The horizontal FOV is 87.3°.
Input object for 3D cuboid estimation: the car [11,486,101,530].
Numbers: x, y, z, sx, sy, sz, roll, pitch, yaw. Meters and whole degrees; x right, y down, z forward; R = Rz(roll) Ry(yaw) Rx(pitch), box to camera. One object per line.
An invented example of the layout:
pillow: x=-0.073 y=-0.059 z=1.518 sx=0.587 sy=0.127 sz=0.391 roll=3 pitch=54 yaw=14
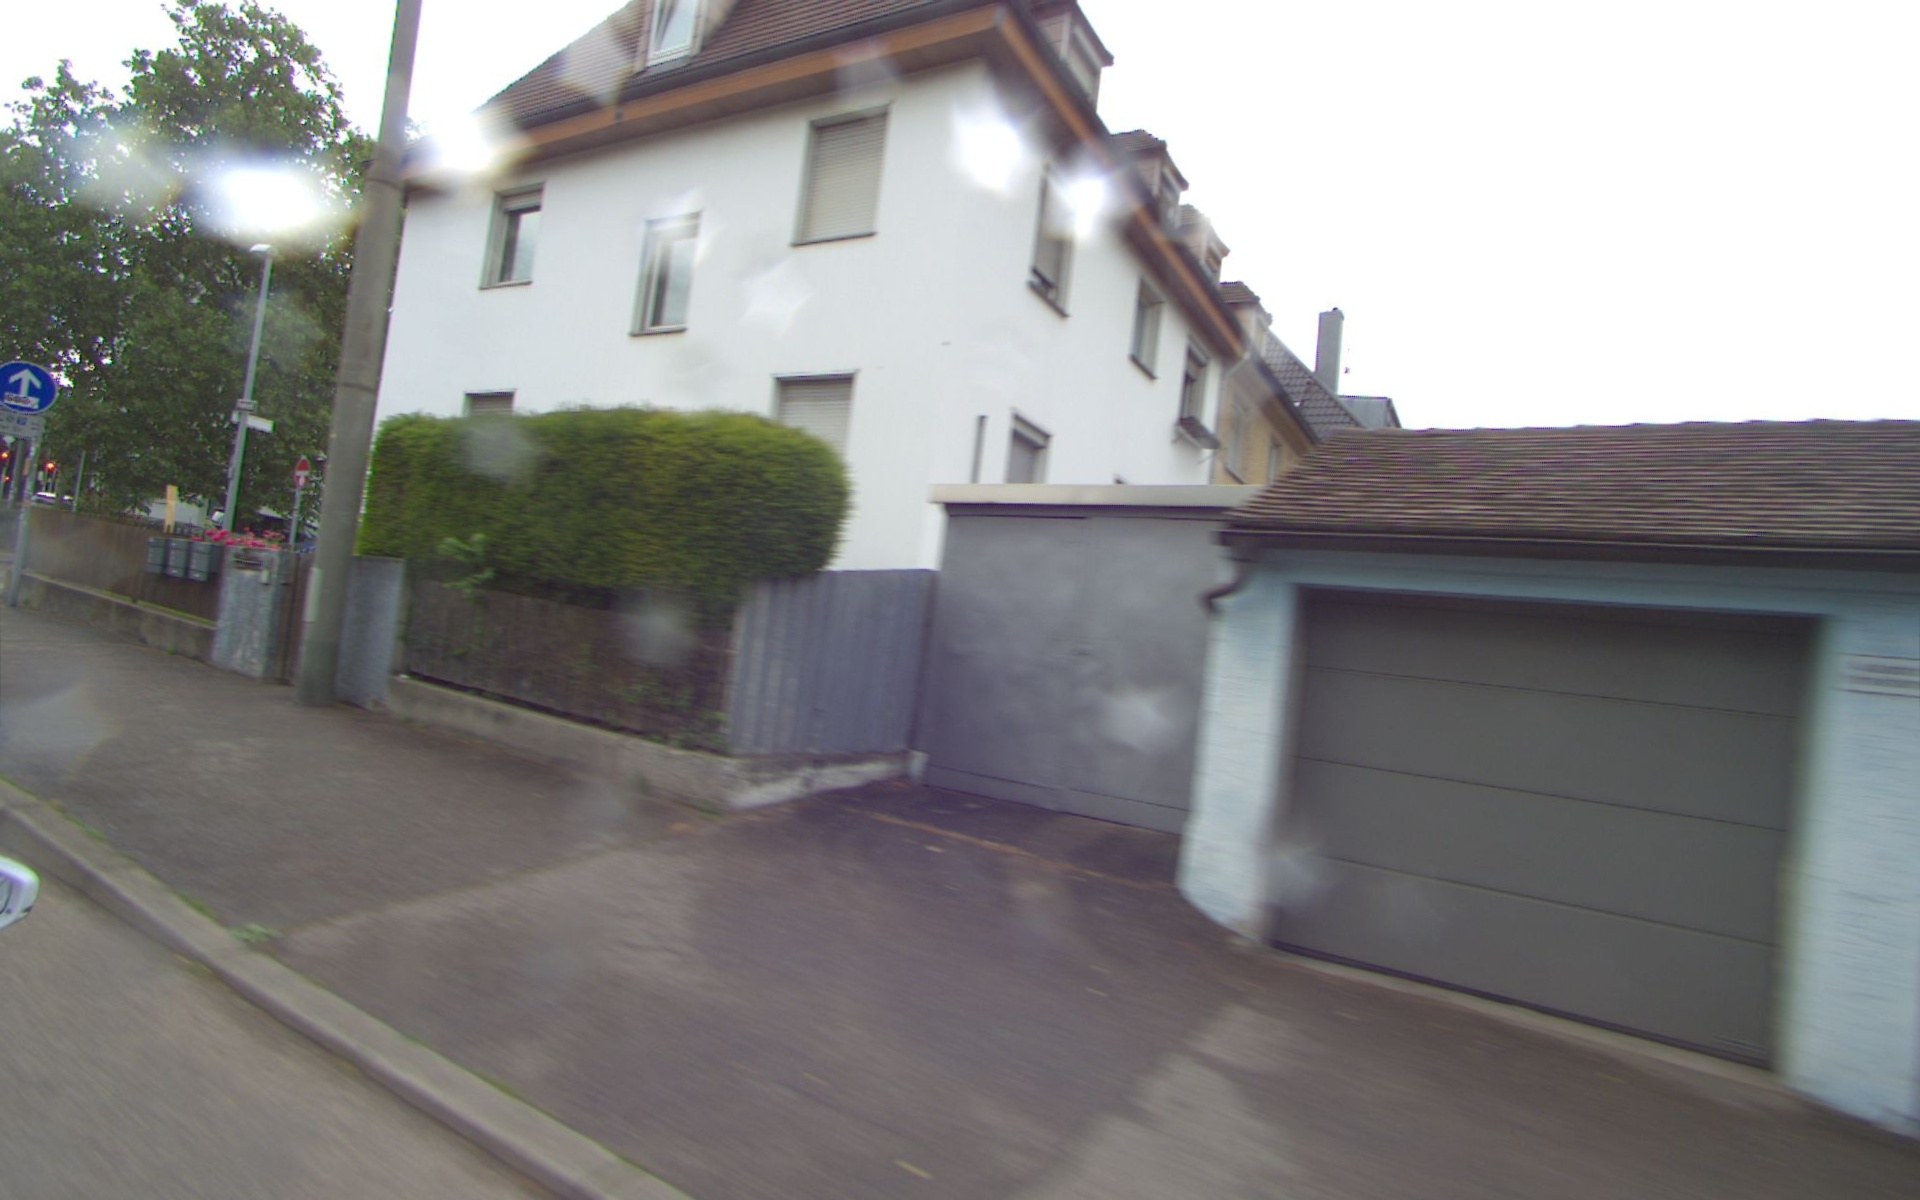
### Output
car: x=-44.729 y=-4.498 z=49.878 sx=1.975 sy=1.566 sz=3.979 roll=9 pitch=-3 yaw=-24

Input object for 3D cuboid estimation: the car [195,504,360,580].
car: x=-24.786 y=-2.066 z=36.689 sx=1.966 sy=1.954 sz=4.411 roll=7 pitch=-2 yaw=30
